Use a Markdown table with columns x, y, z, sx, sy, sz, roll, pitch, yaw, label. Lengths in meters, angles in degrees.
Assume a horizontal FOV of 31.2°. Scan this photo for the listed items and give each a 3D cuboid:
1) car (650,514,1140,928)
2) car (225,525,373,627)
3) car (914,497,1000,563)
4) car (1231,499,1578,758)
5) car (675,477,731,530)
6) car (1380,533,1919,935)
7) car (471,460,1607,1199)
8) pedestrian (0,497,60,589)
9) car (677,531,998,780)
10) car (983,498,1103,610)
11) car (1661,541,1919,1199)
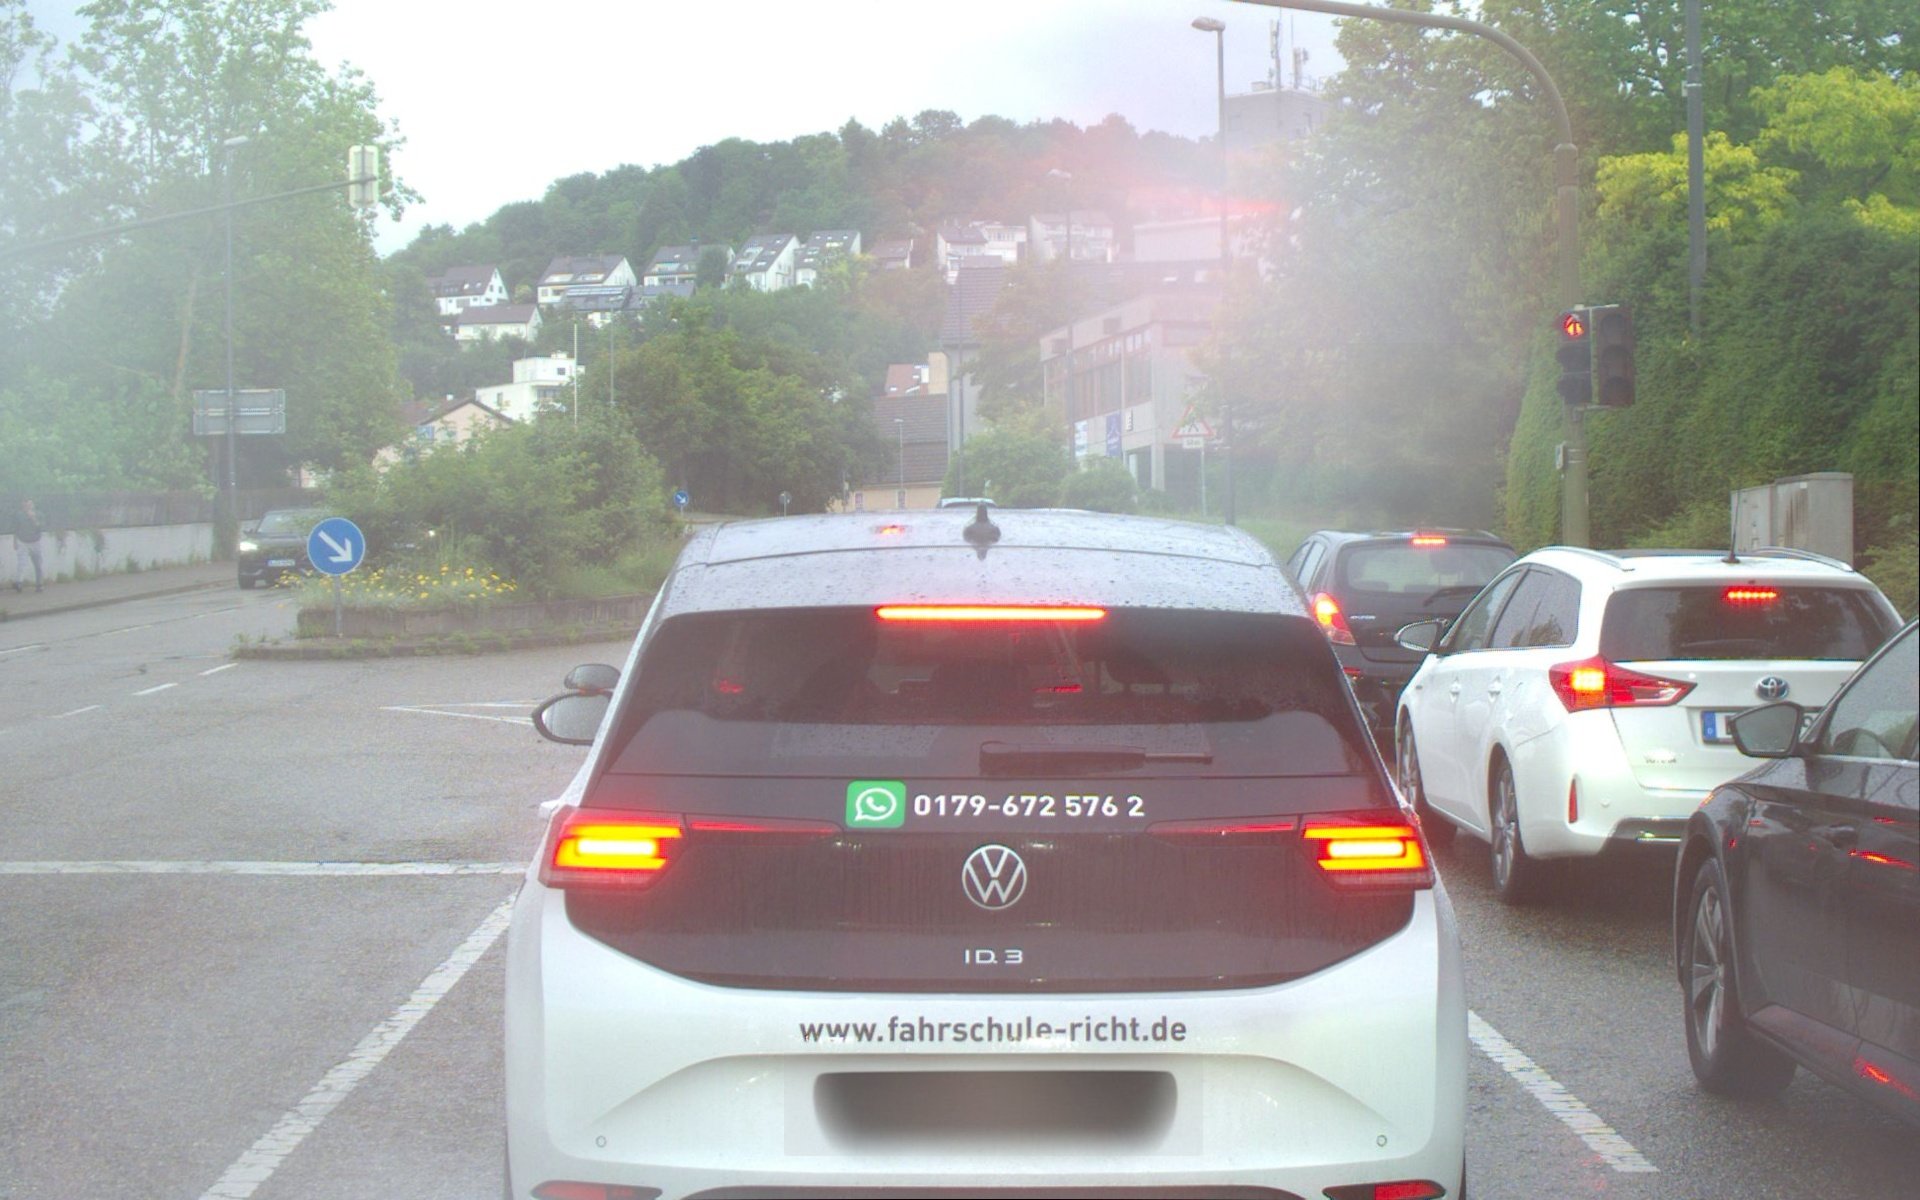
| x | y | z | sx | sy | sz | roll | pitch | yaw | label |
| --- | --- | --- | --- | --- | --- | --- | --- | --- | --- |
| -0.292 | 0.413 | 15.230 | 1.837 | 1.549 | 4.175 | 1 | 1 | -1 | car |
| -12.619 | -0.479 | 65.853 | 1.993 | 1.798 | 4.000 | -3 | 1 | 0 | car |
| -0.088 | -1.600 | 77.872 | 1.761 | 1.413 | 3.749 | -1 | 2 | -3 | car |
| 2.920 | 0.151 | 23.353 | 1.775 | 1.576 | 4.000 | 1 | 1 | 0 | car |
| -10.497 | -3.931 | 140.456 | 1.993 | 2.007 | 4.000 | 1 | 0 | 0 | car |
| 3.062 | 0.470 | 14.990 | 1.837 | 1.461 | 4.117 | 1 | 1 | -1 | car |
| 0.078 | 0.546 | 7.950 | 1.837 | 1.623 | 4.616 | 1 | 1 | -1 | car |
| -16.204 | -0.988 | 59.932 | 0.760 | 1.562 | 0.825 | -2 | 1 | -1 | pedestrian |
| -0.751 | 0.284 | 21.923 | 1.837 | 1.395 | 3.831 | 1 | 1 | -1 | car |
| 1.177 | -0.644 | 48.241 | 1.581 | 1.462 | 4.000 | -1 | 1 | 2 | car |
| 2.873 | 0.637 | 7.463 | 1.838 | 1.461 | 4.350 | 1 | 1 | 1 | car |
